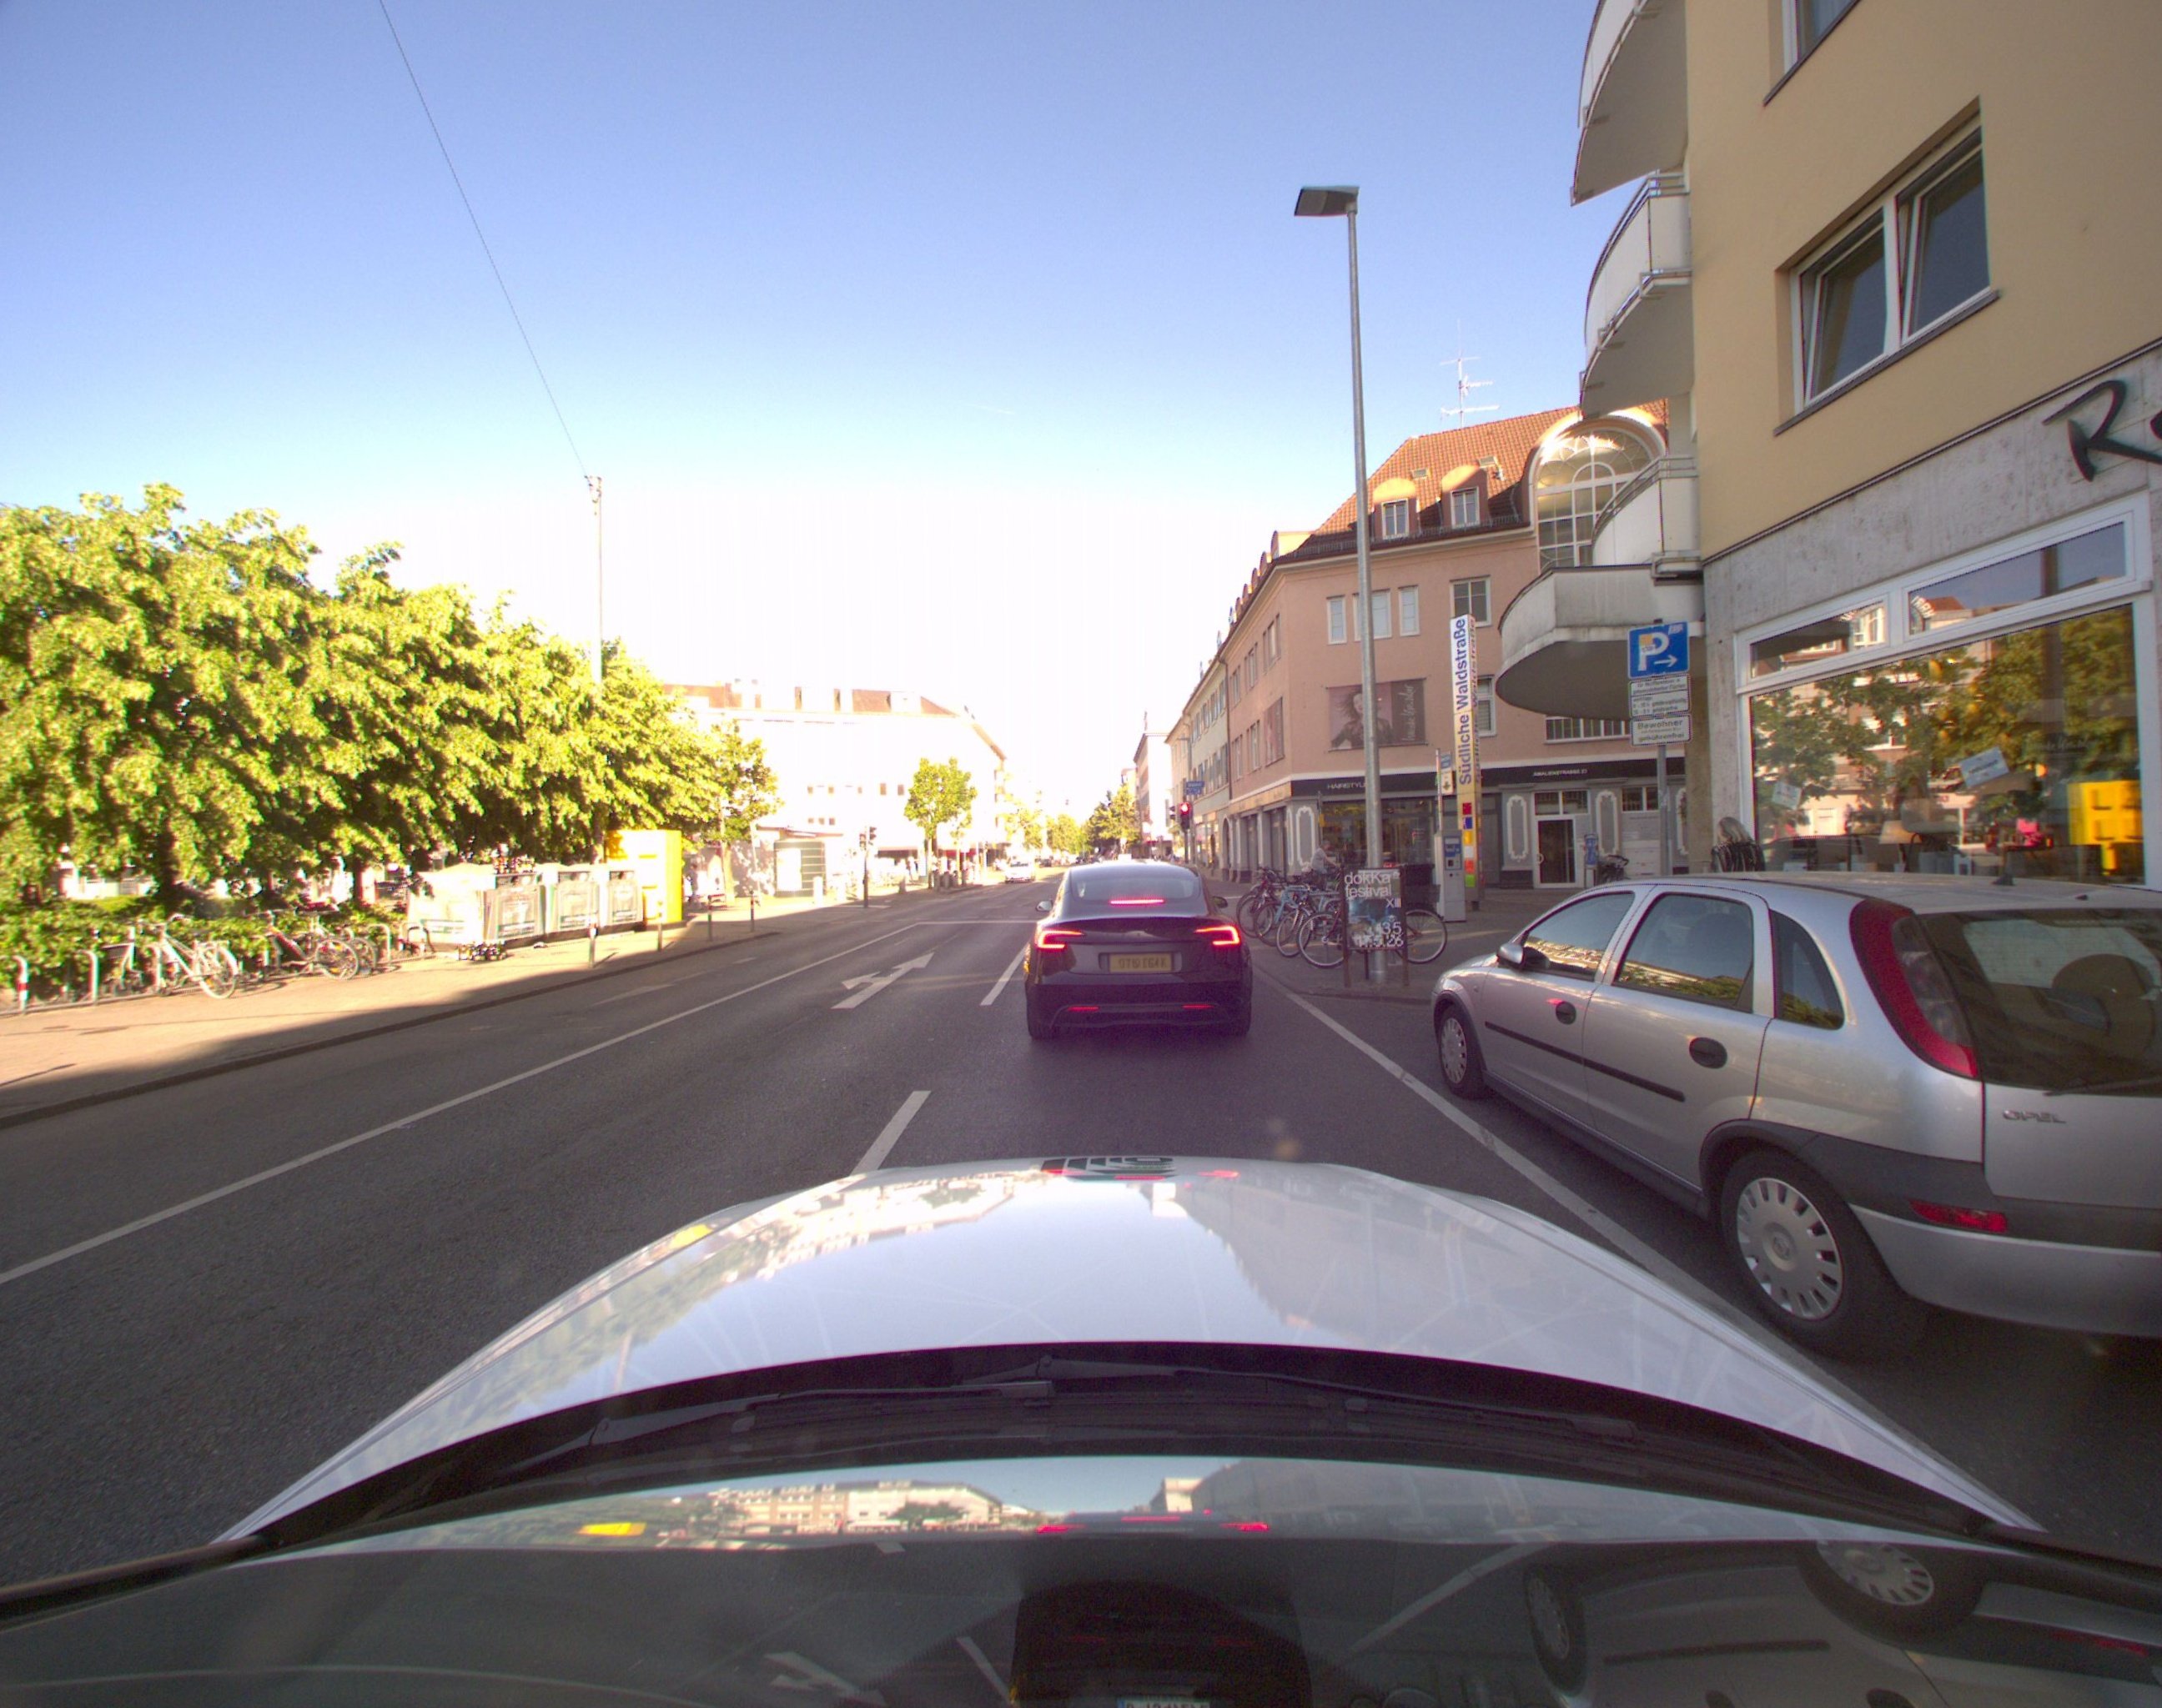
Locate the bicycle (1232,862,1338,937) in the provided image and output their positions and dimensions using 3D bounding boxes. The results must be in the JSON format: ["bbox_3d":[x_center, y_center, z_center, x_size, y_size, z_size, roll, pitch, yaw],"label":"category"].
[{"bbox_3d":[3.453,0.772,13.842,1.622,1.160,0.433,-3,0,0],"label":"bicycle"}]

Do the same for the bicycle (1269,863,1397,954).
[{"bbox_3d":[3.527,0.753,11.459,1.622,1.160,0.433,-3,0,0],"label":"bicycle"}]

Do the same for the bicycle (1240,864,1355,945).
[{"bbox_3d":[3.367,0.779,12.719,1.622,1.160,0.433,-3,0,0],"label":"bicycle"}]

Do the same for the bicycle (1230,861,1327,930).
[{"bbox_3d":[3.628,0.760,15.020,1.621,1.160,0.433,-3,0,2],"label":"bicycle"}]

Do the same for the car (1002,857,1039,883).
[{"bbox_3d":[-4.132,1.072,56.075,1.986,1.541,4.002,-5,0,2],"label":"car"}]

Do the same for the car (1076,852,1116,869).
[{"bbox_3d":[1.557,0.733,86.072,2.064,1.727,4.606,-1,0,-32],"label":"car"}]

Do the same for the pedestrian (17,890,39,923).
[{"bbox_3d":[-59.495,2.968,46.025,0.576,1.792,0.604,-1,-1,19],"label":"pedestrian"}]

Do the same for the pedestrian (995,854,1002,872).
[{"bbox_3d":[-9.307,0.970,92.120,0.623,2.014,0.575,-1,0,1],"label":"pedestrian"}]

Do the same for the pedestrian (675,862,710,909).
[{"bbox_3d":[-14.918,1.201,31.290,0.897,1.725,0.745,-1,0,5],"label":"pedestrian"}]

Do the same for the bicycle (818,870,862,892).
[{"bbox_3d":[-12.838,1.434,43.356,2.075,1.104,0.806,-1,0,1],"label":"bicycle"}]

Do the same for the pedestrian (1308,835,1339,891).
[{"bbox_3d":[6.387,0.231,21.493,0.738,1.440,0.584,-1,-1,13],"label":"pedestrian"}]

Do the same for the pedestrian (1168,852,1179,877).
[{"bbox_3d":[6.687,0.753,59.073,0.701,1.783,0.534,-1,0,1],"label":"pedestrian"}]

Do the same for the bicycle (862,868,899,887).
[{"bbox_3d":[-12.467,1.464,50.647,2.075,1.104,0.806,-1,0,1],"label":"bicycle"}]

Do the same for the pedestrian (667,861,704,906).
[{"bbox_3d":[-14.824,1.095,30.542,0.981,1.636,0.738,-1,0,5],"label":"pedestrian"}]

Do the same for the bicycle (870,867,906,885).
[{"bbox_3d":[-12.509,1.434,52.843,2.075,1.104,0.806,-1,0,1],"label":"bicycle"}]

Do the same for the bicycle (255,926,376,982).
[{"bbox_3d":[-11.256,1.462,11.983,1.465,0.769,0.442,-1,-1,6],"label":"bicycle"}]

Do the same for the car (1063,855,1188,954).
[{"bbox_3d":[0.750,0.757,14.080,1.842,1.455,3.788,-1,0,3],"label":"car"}]

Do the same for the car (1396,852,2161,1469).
[{"bbox_3d":[2.960,0.708,3.804,1.615,1.394,3.888,-1,0,3],"label":"car"}]

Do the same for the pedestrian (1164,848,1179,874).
[{"bbox_3d":[6.530,0.505,59.050,0.995,1.850,0.615,-1,0,1],"label":"pedestrian"}]

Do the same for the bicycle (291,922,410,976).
[{"bbox_3d":[-11.244,1.454,12.548,1.466,0.769,0.475,-1,-1,4],"label":"bicycle"}]

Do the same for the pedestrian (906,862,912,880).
[{"bbox_3d":[-13.180,1.294,62.352,0.419,1.339,0.393,-1,0,-5],"label":"pedestrian"}]

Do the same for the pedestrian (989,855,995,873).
[{"bbox_3d":[-10.083,1.166,92.149,0.623,2.014,0.707,-1,0,1],"label":"pedestrian"}]

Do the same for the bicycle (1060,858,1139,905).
[{"bbox_3d":[0.543,0.796,23.569,2.108,1.200,0.631,-4,-1,17],"label":"bicycle"}]

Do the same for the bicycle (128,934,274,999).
[{"bbox_3d":[-11.435,1.450,10.589,1.645,0.769,0.476,-1,-1,10],"label":"bicycle"}]

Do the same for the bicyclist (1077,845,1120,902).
[{"bbox_3d":[0.512,0.560,23.569,1.088,1.589,0.631,-1,0,18],"label":"bicyclist"}]

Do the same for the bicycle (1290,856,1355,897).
[{"bbox_3d":[6.359,0.596,21.496,1.604,1.045,0.593,-1,-1,14],"label":"bicycle"}]

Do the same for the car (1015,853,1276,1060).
[{"bbox_3d":[0.547,0.744,7.743,1.842,1.455,3.788,-1,0,3],"label":"car"}]

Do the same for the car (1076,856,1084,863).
[{"bbox_3d":[-0.328,1.360,195.202,1.824,1.724,4.000,-1,0,0],"label":"car"}]

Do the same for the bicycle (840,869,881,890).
[{"bbox_3d":[-12.420,1.424,45.868,2.075,1.104,0.806,-1,0,1],"label":"bicycle"}]

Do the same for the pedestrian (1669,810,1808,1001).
[{"bbox_3d":[5.987,0.454,7.453,0.659,1.633,0.629,-4,-1,6],"label":"pedestrian"}]
